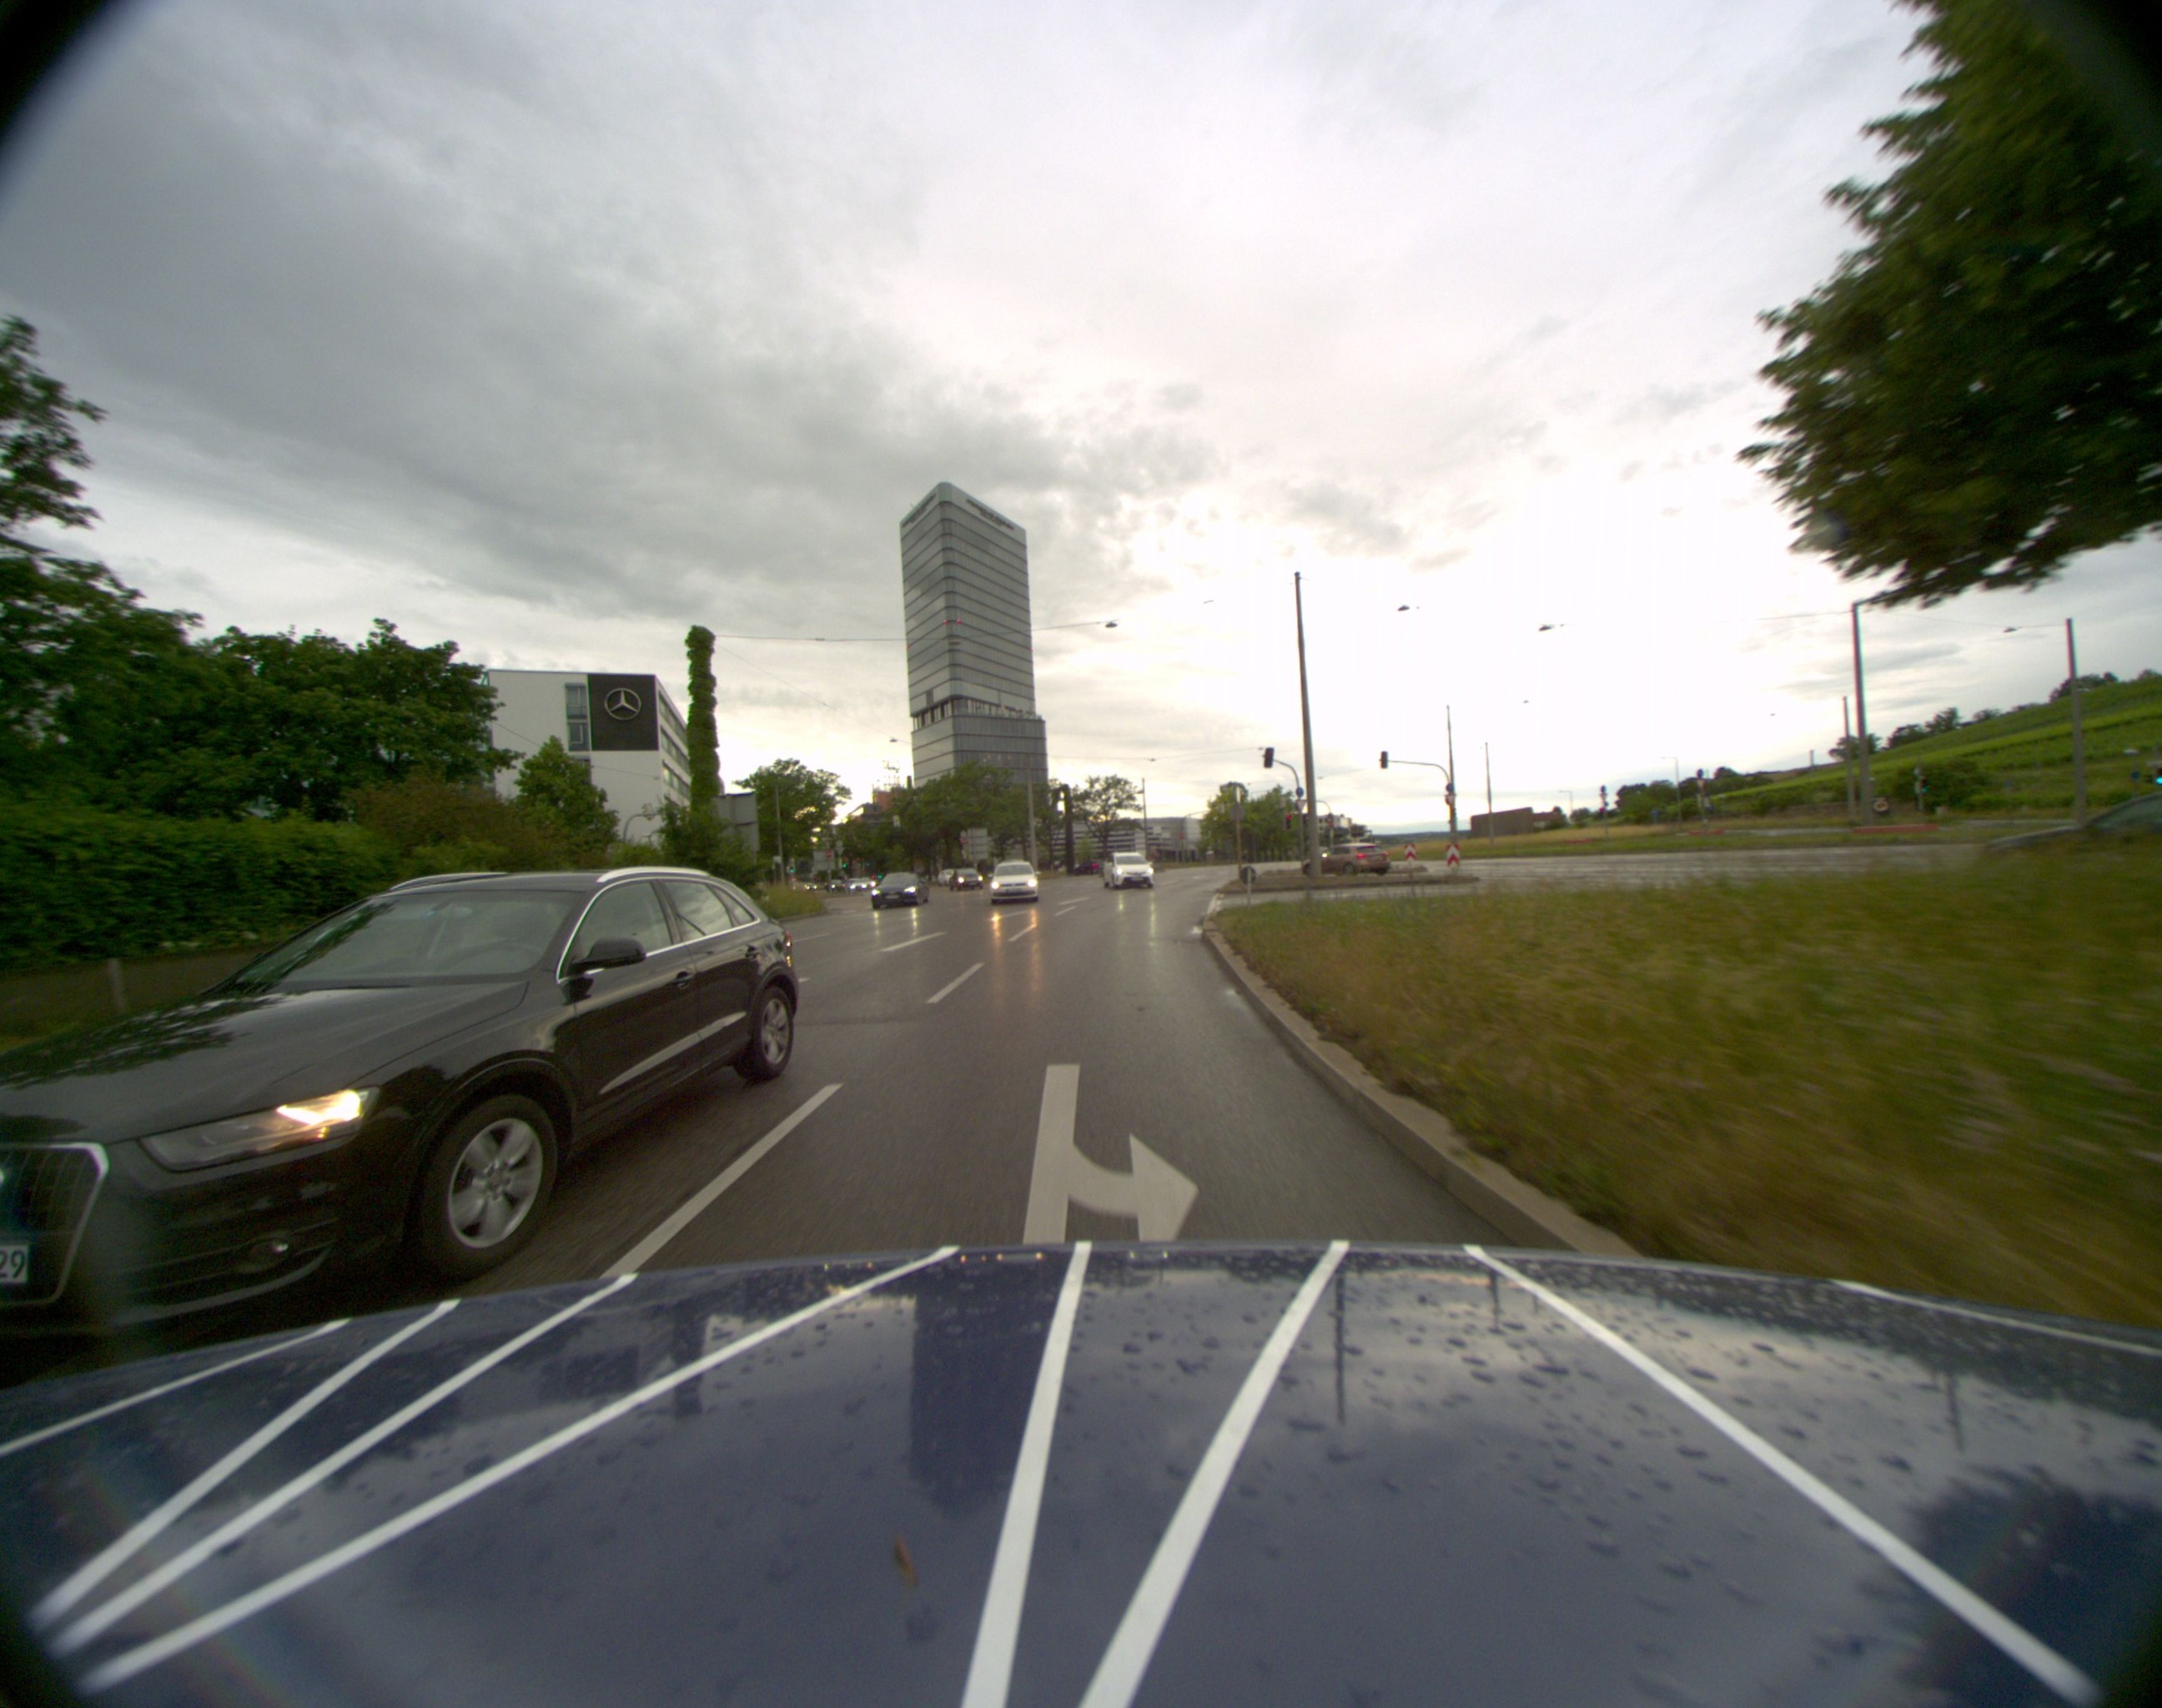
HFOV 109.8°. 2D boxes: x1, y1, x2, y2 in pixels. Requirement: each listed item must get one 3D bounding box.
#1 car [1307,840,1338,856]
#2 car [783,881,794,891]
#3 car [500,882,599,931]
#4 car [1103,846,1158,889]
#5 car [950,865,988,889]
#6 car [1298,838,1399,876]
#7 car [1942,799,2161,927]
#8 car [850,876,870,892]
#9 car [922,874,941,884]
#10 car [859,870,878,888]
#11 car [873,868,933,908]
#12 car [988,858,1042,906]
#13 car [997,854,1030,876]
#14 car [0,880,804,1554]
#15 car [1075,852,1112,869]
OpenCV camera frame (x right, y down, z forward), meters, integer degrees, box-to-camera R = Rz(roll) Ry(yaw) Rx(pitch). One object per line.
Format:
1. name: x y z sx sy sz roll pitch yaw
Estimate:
1. car: 26.097 -0.677 82.136 1.792 1.579 3.912 -3 1 39
2. car: -57.210 6.303 148.639 1.716 1.699 3.875 -4 0 -25
3. car: -33.625 3.328 48.139 4.801 2.650 1.930 -4 0 2
4. car: 2.194 0.569 34.784 1.827 1.575 4.293 -4 3 -4
5. car: -7.547 1.525 50.836 1.572 1.406 3.873 -4 0 -21
6. car: 11.531 0.168 33.035 1.740 1.453 4.335 -4 0 -19
7. car: 14.985 0.069 10.236 1.882 1.644 4.357 -3 0 3
8. car: -23.481 3.138 80.692 1.614 1.505 3.626 -4 0 -22
9. car: -22.648 3.793 114.927 1.685 1.476 3.783 -4 0 -28
10. car: -25.706 3.004 91.894 1.614 2.002 3.626 -4 1 -22
11. car: -7.354 1.349 31.716 1.759 1.390 3.998 -3 0 -4
12. car: -2.400 0.975 28.170 1.730 1.464 4.262 -5 0 -4
13. car: -8.706 1.450 97.440 1.934 2.569 5.447 -4 0 -31
14. car: -3.154 1.016 3.976 1.729 1.525 4.127 -3 0 2
15. car: 1.247 0.708 79.346 1.741 1.587 4.332 -4 0 -30
